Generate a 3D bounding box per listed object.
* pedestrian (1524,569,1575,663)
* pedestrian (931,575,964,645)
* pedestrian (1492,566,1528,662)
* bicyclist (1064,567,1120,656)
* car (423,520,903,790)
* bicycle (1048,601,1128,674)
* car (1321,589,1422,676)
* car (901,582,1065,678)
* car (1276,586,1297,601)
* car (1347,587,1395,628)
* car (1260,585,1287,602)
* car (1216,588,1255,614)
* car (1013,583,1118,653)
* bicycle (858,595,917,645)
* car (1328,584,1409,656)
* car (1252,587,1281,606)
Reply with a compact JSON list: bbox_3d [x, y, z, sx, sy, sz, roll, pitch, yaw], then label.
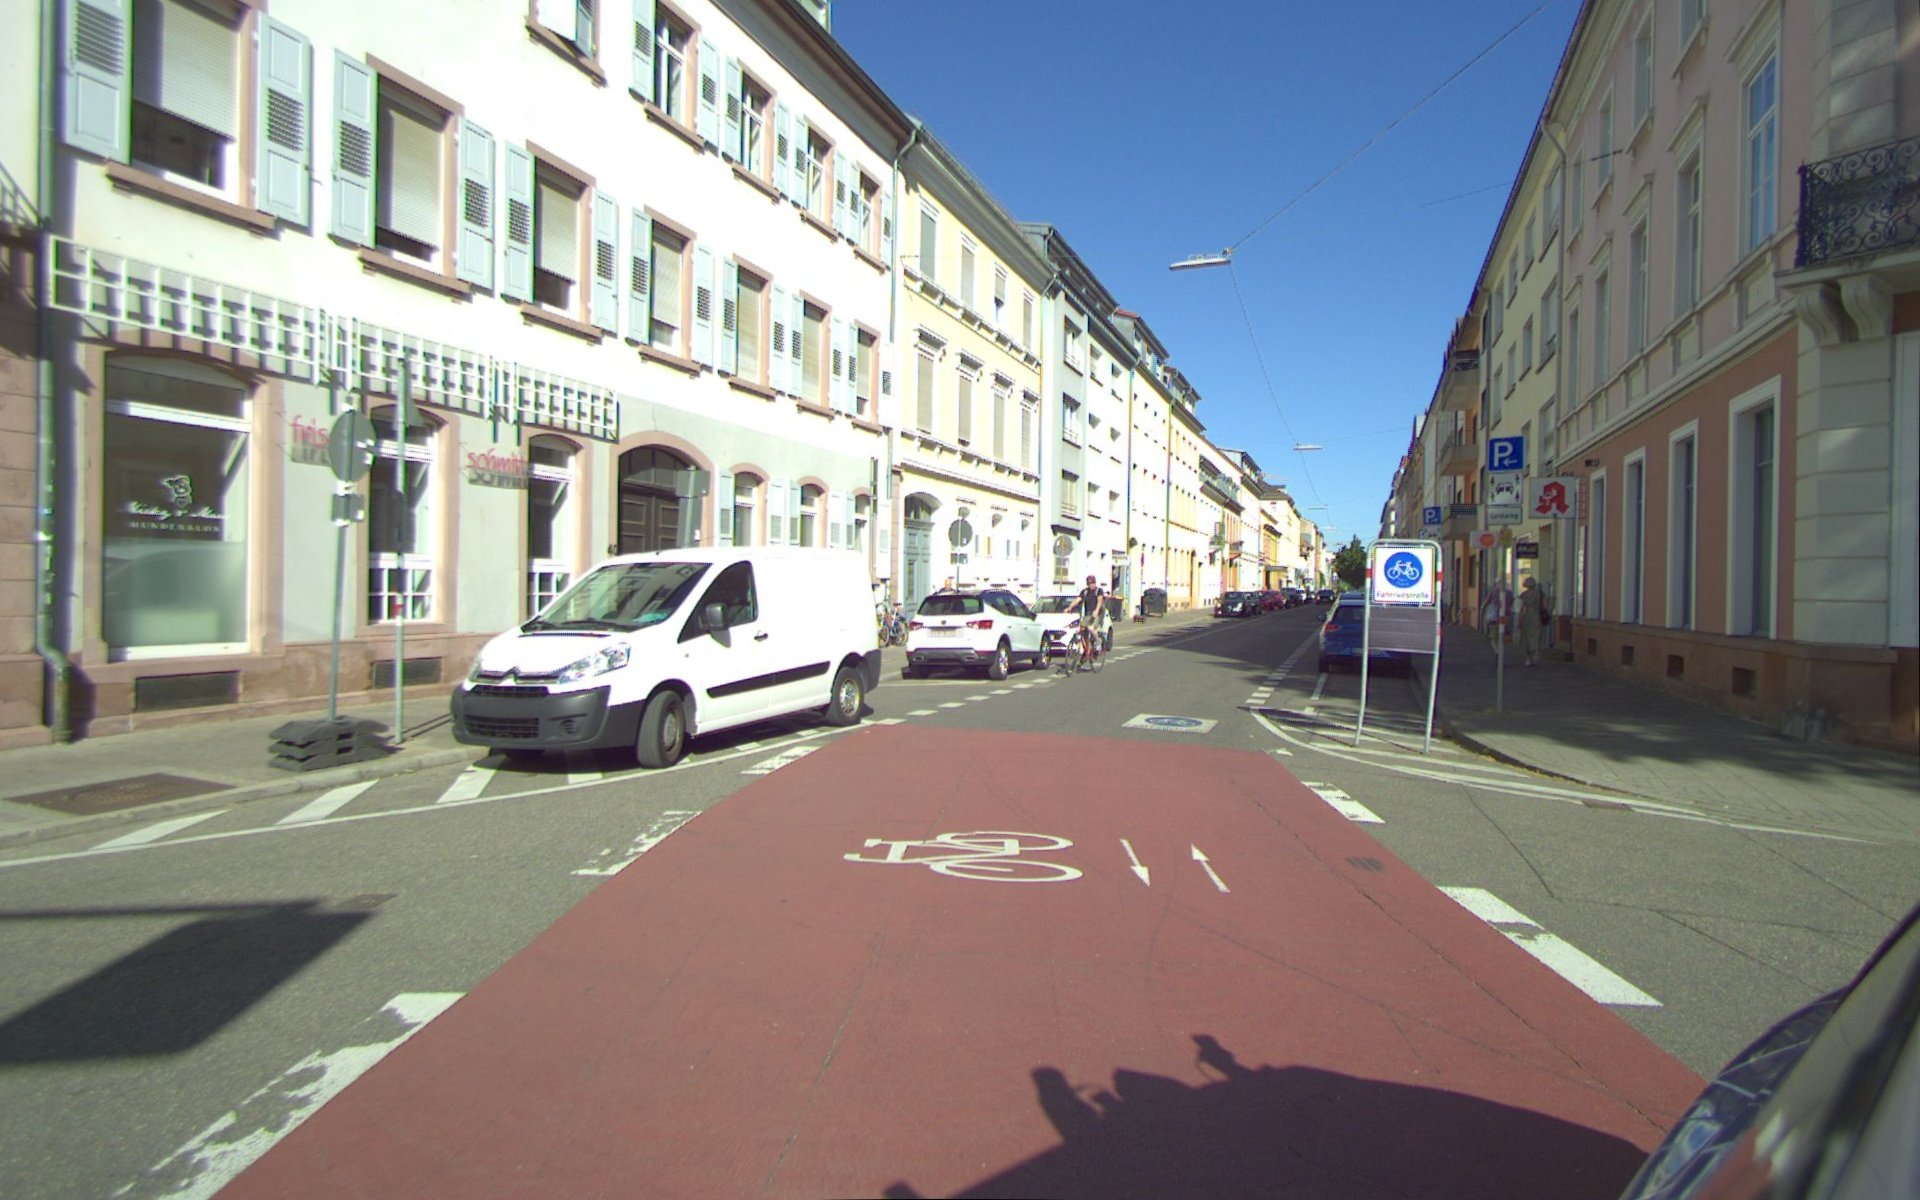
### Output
[{"bbox_3d":[11.532,0.298,19.813,0.824,1.786,0.744,1,0,31],"label":"pedestrian"},{"bbox_3d":[-0.284,0.223,23.906,0.577,1.621,0.635,1,0,21],"label":"pedestrian"},{"bbox_3d":[10.953,0.275,20.163,0.566,1.880,0.699,-2,0,29],"label":"pedestrian"},{"bbox_3d":[2.409,0.195,18.364,0.634,1.566,1.013,1,0,33],"label":"bicyclist"},{"bbox_3d":[-2.492,0.368,10.088,2.026,1.970,4.991,1,1,21],"label":"car"},{"bbox_3d":[2.341,0.647,18.307,0.668,1.214,1.903,1,1,33],"label":"bicycle"},{"bbox_3d":[8.378,0.572,20.696,1.688,1.451,3.613,3,3,22],"label":"car"},{"bbox_3d":[0.566,0.480,18.713,1.626,1.561,4.350,-1,0,22],"label":"car"},{"bbox_3d":[31.018,-0.623,96.040,1.687,1.316,3.612,1,1,22],"label":"car"},{"bbox_3d":[17.017,0.264,41.952,1.688,1.451,3.613,3,3,22],"label":"car"},{"bbox_3d":[24.890,-0.541,80.297,1.687,1.316,3.612,1,1,22],"label":"car"},{"bbox_3d":[15.189,0.031,55.732,1.687,1.316,3.612,1,1,22],"label":"car"},{"bbox_3d":[2.625,0.396,24.510,1.613,1.561,3.612,-1,0,22],"label":"car"},{"bbox_3d":[-1.655,0.438,23.499,0.412,1.108,2.206,1,1,23],"label":"bicycle"},{"bbox_3d":[10.264,0.434,25.469,1.688,1.556,3.613,3,3,22],"label":"car"},{"bbox_3d":[22.050,-0.292,72.828,1.687,1.316,3.612,1,1,22],"label":"car"}]
